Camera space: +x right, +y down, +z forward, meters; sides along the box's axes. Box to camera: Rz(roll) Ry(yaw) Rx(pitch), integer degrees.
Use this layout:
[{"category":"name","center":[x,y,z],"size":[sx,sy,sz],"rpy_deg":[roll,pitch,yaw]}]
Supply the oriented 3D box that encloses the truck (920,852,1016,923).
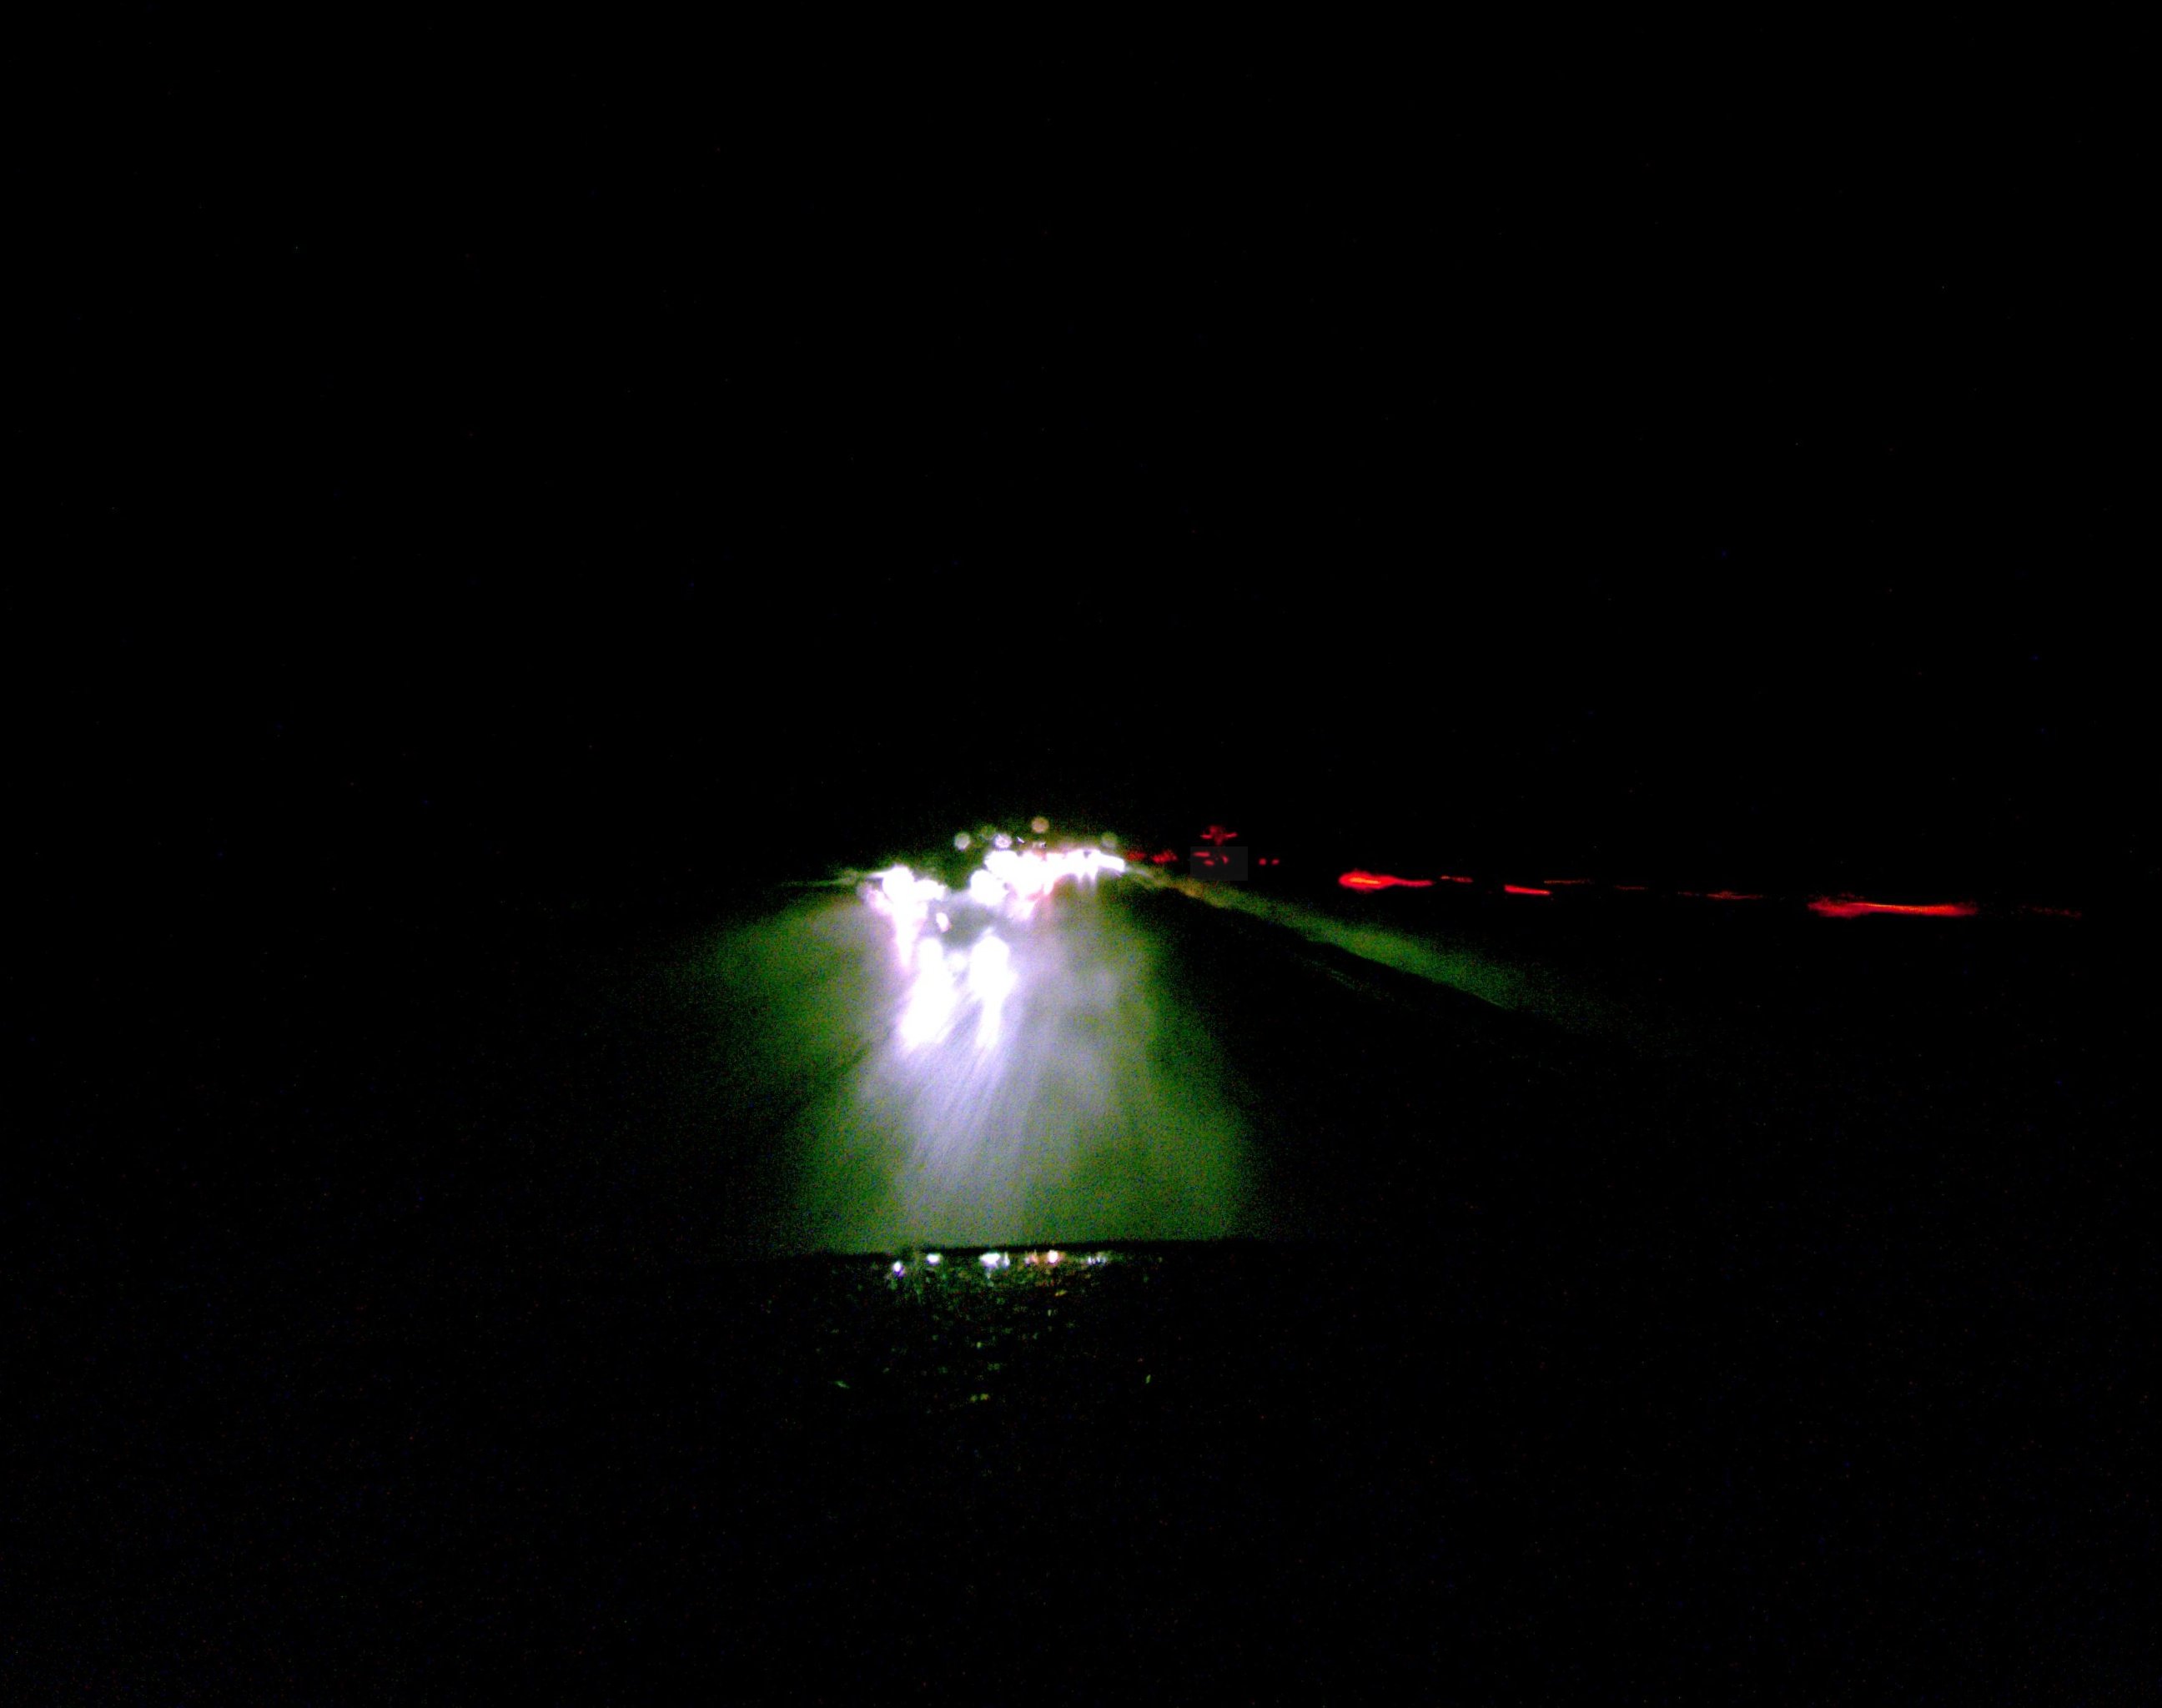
[{"category":"truck","center":[-3.054,0.839,21.579],"size":[1.848,1.686,4.854],"rpy_deg":[-2,1,1]}]

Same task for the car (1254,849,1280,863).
[{"category":"car","center":[24.760,0.256,101.303],"size":[2.219,1.882,4.789],"rpy_deg":[0,0,0]}]

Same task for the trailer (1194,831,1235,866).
[{"category":"trailer","center":[17.896,-0.719,102.704],"size":[3.056,4.268,14.408],"rpy_deg":[1,0,0]}]

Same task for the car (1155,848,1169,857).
[{"category":"car","center":[14.178,-0.275,132.683],"size":[1.998,1.412,4.000],"rpy_deg":[0,0,0]}]

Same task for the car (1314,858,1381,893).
[{"category":"car","center":[12.859,0.994,36.951],"size":[1.682,1.588,4.348],"rpy_deg":[0,0,-1]}]

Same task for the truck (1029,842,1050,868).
[{"category":"truck","center":[-6.858,0.117,125.612],"size":[2.778,4.169,6.016],"rpy_deg":[-3,1,2]}]

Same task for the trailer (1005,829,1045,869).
[{"category":"trailer","center":[-6.199,-0.658,86.422],"size":[2.871,4.074,13.641],"rpy_deg":[-2,1,2]}]

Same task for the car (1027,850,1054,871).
[{"category":"car","center":[-3.047,0.463,57.876],"size":[1.619,1.494,3.767],"rpy_deg":[-2,1,2]}]

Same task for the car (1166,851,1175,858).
[{"category":"car","center":[25.487,0.011,216.513],"size":[1.998,1.936,5.386],"rpy_deg":[0,0,0]}]

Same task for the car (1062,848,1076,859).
[{"category":"car","center":[-1.940,-0.094,123.839],"size":[1.944,1.521,4.000],"rpy_deg":[-2,1,2]}]

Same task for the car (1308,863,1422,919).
[{"category":"car","center":[8.127,1.003,22.189],"size":[1.682,1.438,4.286],"rpy_deg":[0,0,-1]}]

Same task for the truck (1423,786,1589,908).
[{"category":"truck","center":[16.810,-0.208,30.719],"size":[2.894,4.309,6.746],"rpy_deg":[-2,-1,1]}]

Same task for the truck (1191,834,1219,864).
[{"category":"truck","center":[17.946,-0.708,110.349],"size":[3.062,4.268,6.083],"rpy_deg":[1,0,0]}]

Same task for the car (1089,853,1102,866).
[{"category":"car","center":[1.861,0.669,97.023],"size":[1.619,1.452,3.767],"rpy_deg":[-2,1,2]}]

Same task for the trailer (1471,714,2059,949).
[{"category":"trailer","center":[16.749,-0.324,21.997],"size":[2.894,4.278,15.719],"rpy_deg":[-2,-1,1]}]

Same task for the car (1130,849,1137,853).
[{"category":"car","center":[16.662,-0.995,240.232],"size":[1.998,1.407,4.589],"rpy_deg":[0,0,0]}]

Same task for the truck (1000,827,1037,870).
[{"category":"truck","center":[-6.427,-0.574,79.179],"size":[2.866,4.079,7.014],"rpy_deg":[-3,1,2]}]

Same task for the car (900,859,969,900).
[{"category":"car","center":[-6.055,1.004,31.977],"size":[1.747,1.470,5.366],"rpy_deg":[-2,0,1]}]
